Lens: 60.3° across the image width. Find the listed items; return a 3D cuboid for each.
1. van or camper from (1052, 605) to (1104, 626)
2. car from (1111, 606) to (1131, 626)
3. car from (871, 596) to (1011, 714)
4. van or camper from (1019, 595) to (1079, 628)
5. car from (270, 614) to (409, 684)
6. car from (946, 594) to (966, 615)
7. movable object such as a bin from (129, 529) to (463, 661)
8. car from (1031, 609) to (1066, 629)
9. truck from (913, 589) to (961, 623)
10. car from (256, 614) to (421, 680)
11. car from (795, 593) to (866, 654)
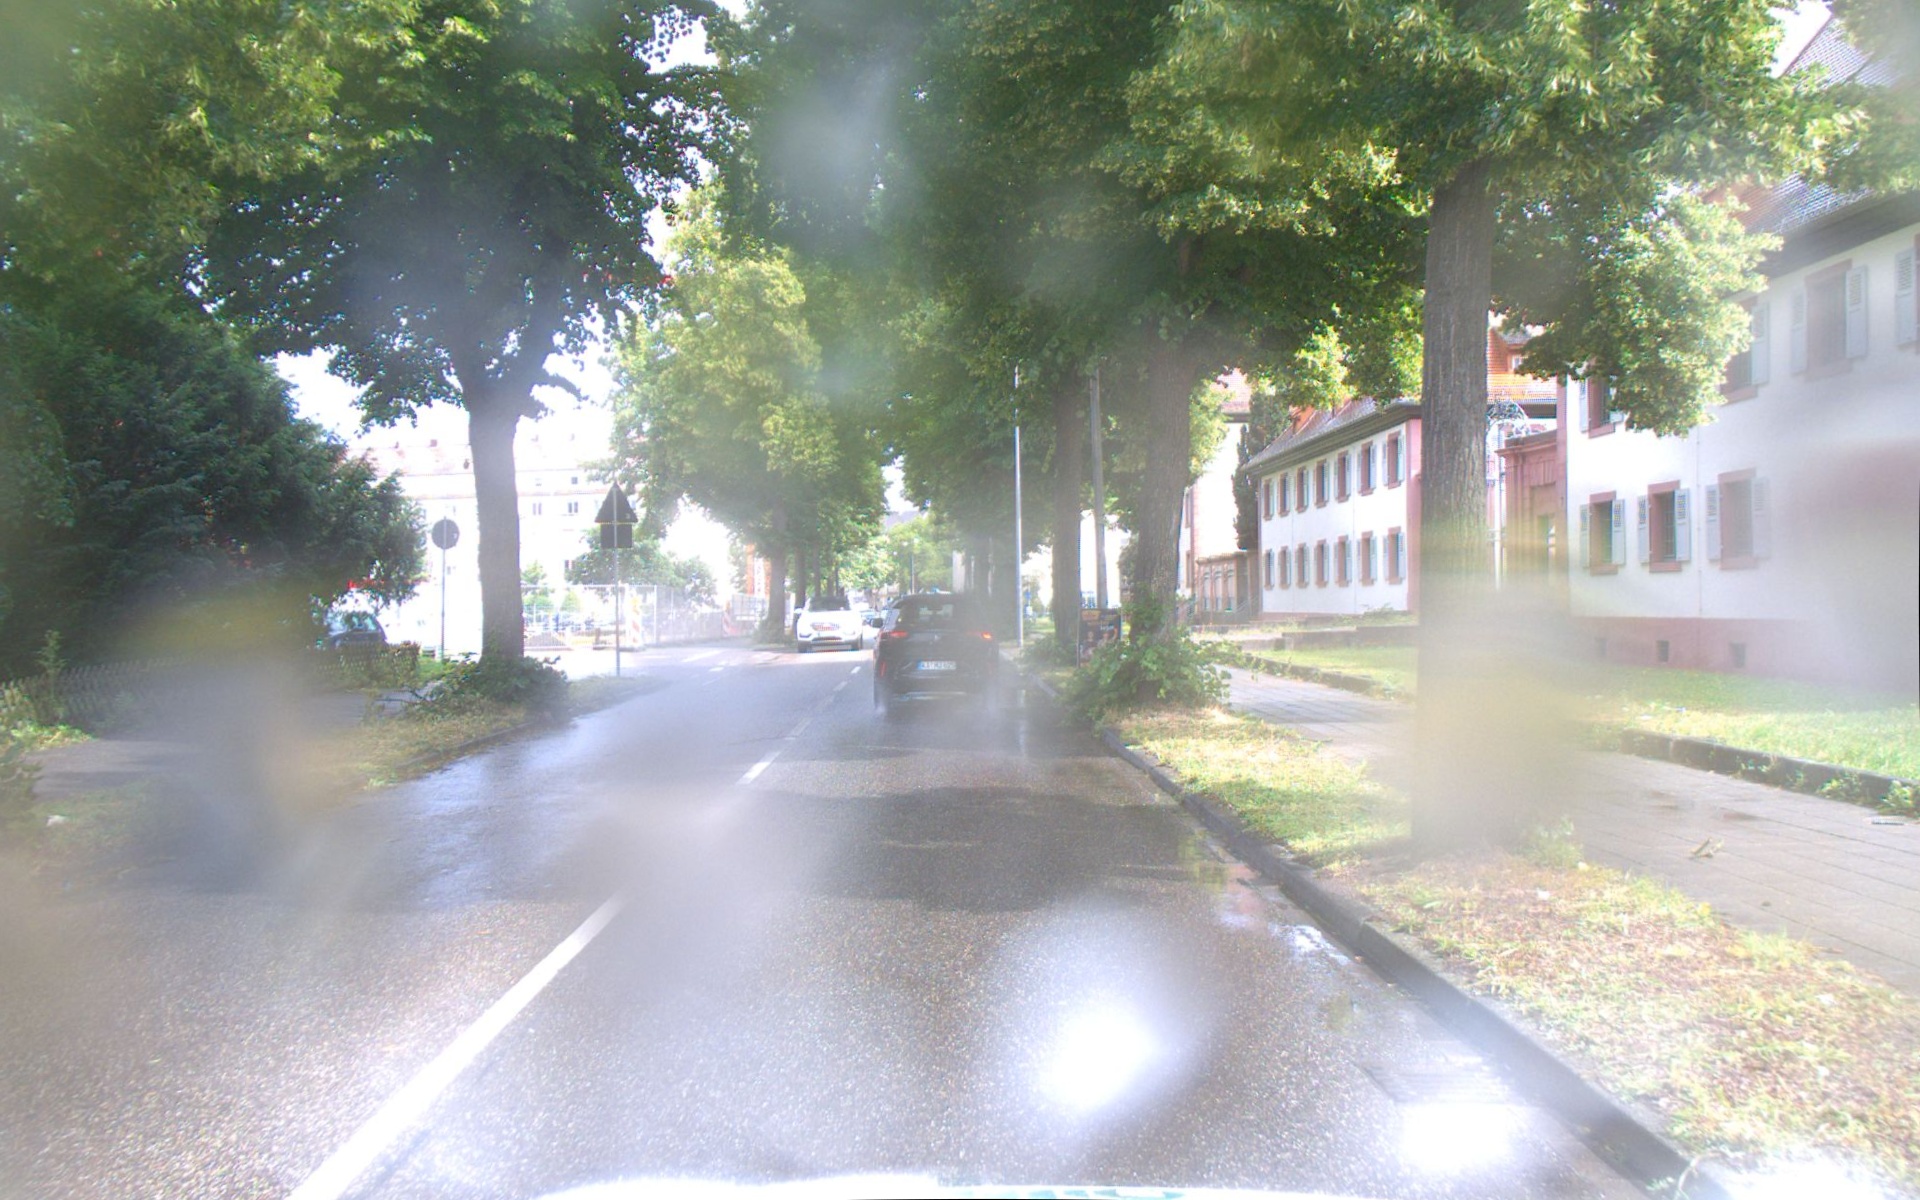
[{"bbox_3d":[11.303,1.436,158.572,4.775,1.959,2.131,0,0,-1],"label":"van or camper"},{"bbox_3d":[15.063,1.496,154.595,1.706,1.713,3.872,-4,-1,5],"label":"car"},{"bbox_3d":[-0.330,0.747,23.991,1.857,1.549,3.998,0,0,-2],"label":"car"},{"bbox_3d":[7.596,0.964,141.190,4.932,2.641,2.167,-1,-1,-2],"label":"van or camper"},{"bbox_3d":[-13.569,1.094,36.374,1.591,1.445,3.869,0,-2,0],"label":"car"},{"bbox_3d":[-0.463,0.548,186.411,1.952,2.049,4.000,-2,-4,3],"label":"car"},{"bbox_3d":[-21.737,-0.176,54.568,9.609,4.187,3.366,0,0,1],"label":"movable object such as a bin"},{"bbox_3d":[9.082,1.981,169.956,3.335,1.812,1.761,-4,-1,8],"label":"car"},{"bbox_3d":[-1.949,0.478,137.218,2.754,2.703,8.222,0,0,-10],"label":"truck"},{"bbox_3d":[-15.942,1.198,42.477,3.528,1.560,1.739,-1,0,8],"label":"car"},{"bbox_3d":[-3.932,0.694,50.723,1.848,1.743,4.229,-1,0,-1],"label":"car"}]
